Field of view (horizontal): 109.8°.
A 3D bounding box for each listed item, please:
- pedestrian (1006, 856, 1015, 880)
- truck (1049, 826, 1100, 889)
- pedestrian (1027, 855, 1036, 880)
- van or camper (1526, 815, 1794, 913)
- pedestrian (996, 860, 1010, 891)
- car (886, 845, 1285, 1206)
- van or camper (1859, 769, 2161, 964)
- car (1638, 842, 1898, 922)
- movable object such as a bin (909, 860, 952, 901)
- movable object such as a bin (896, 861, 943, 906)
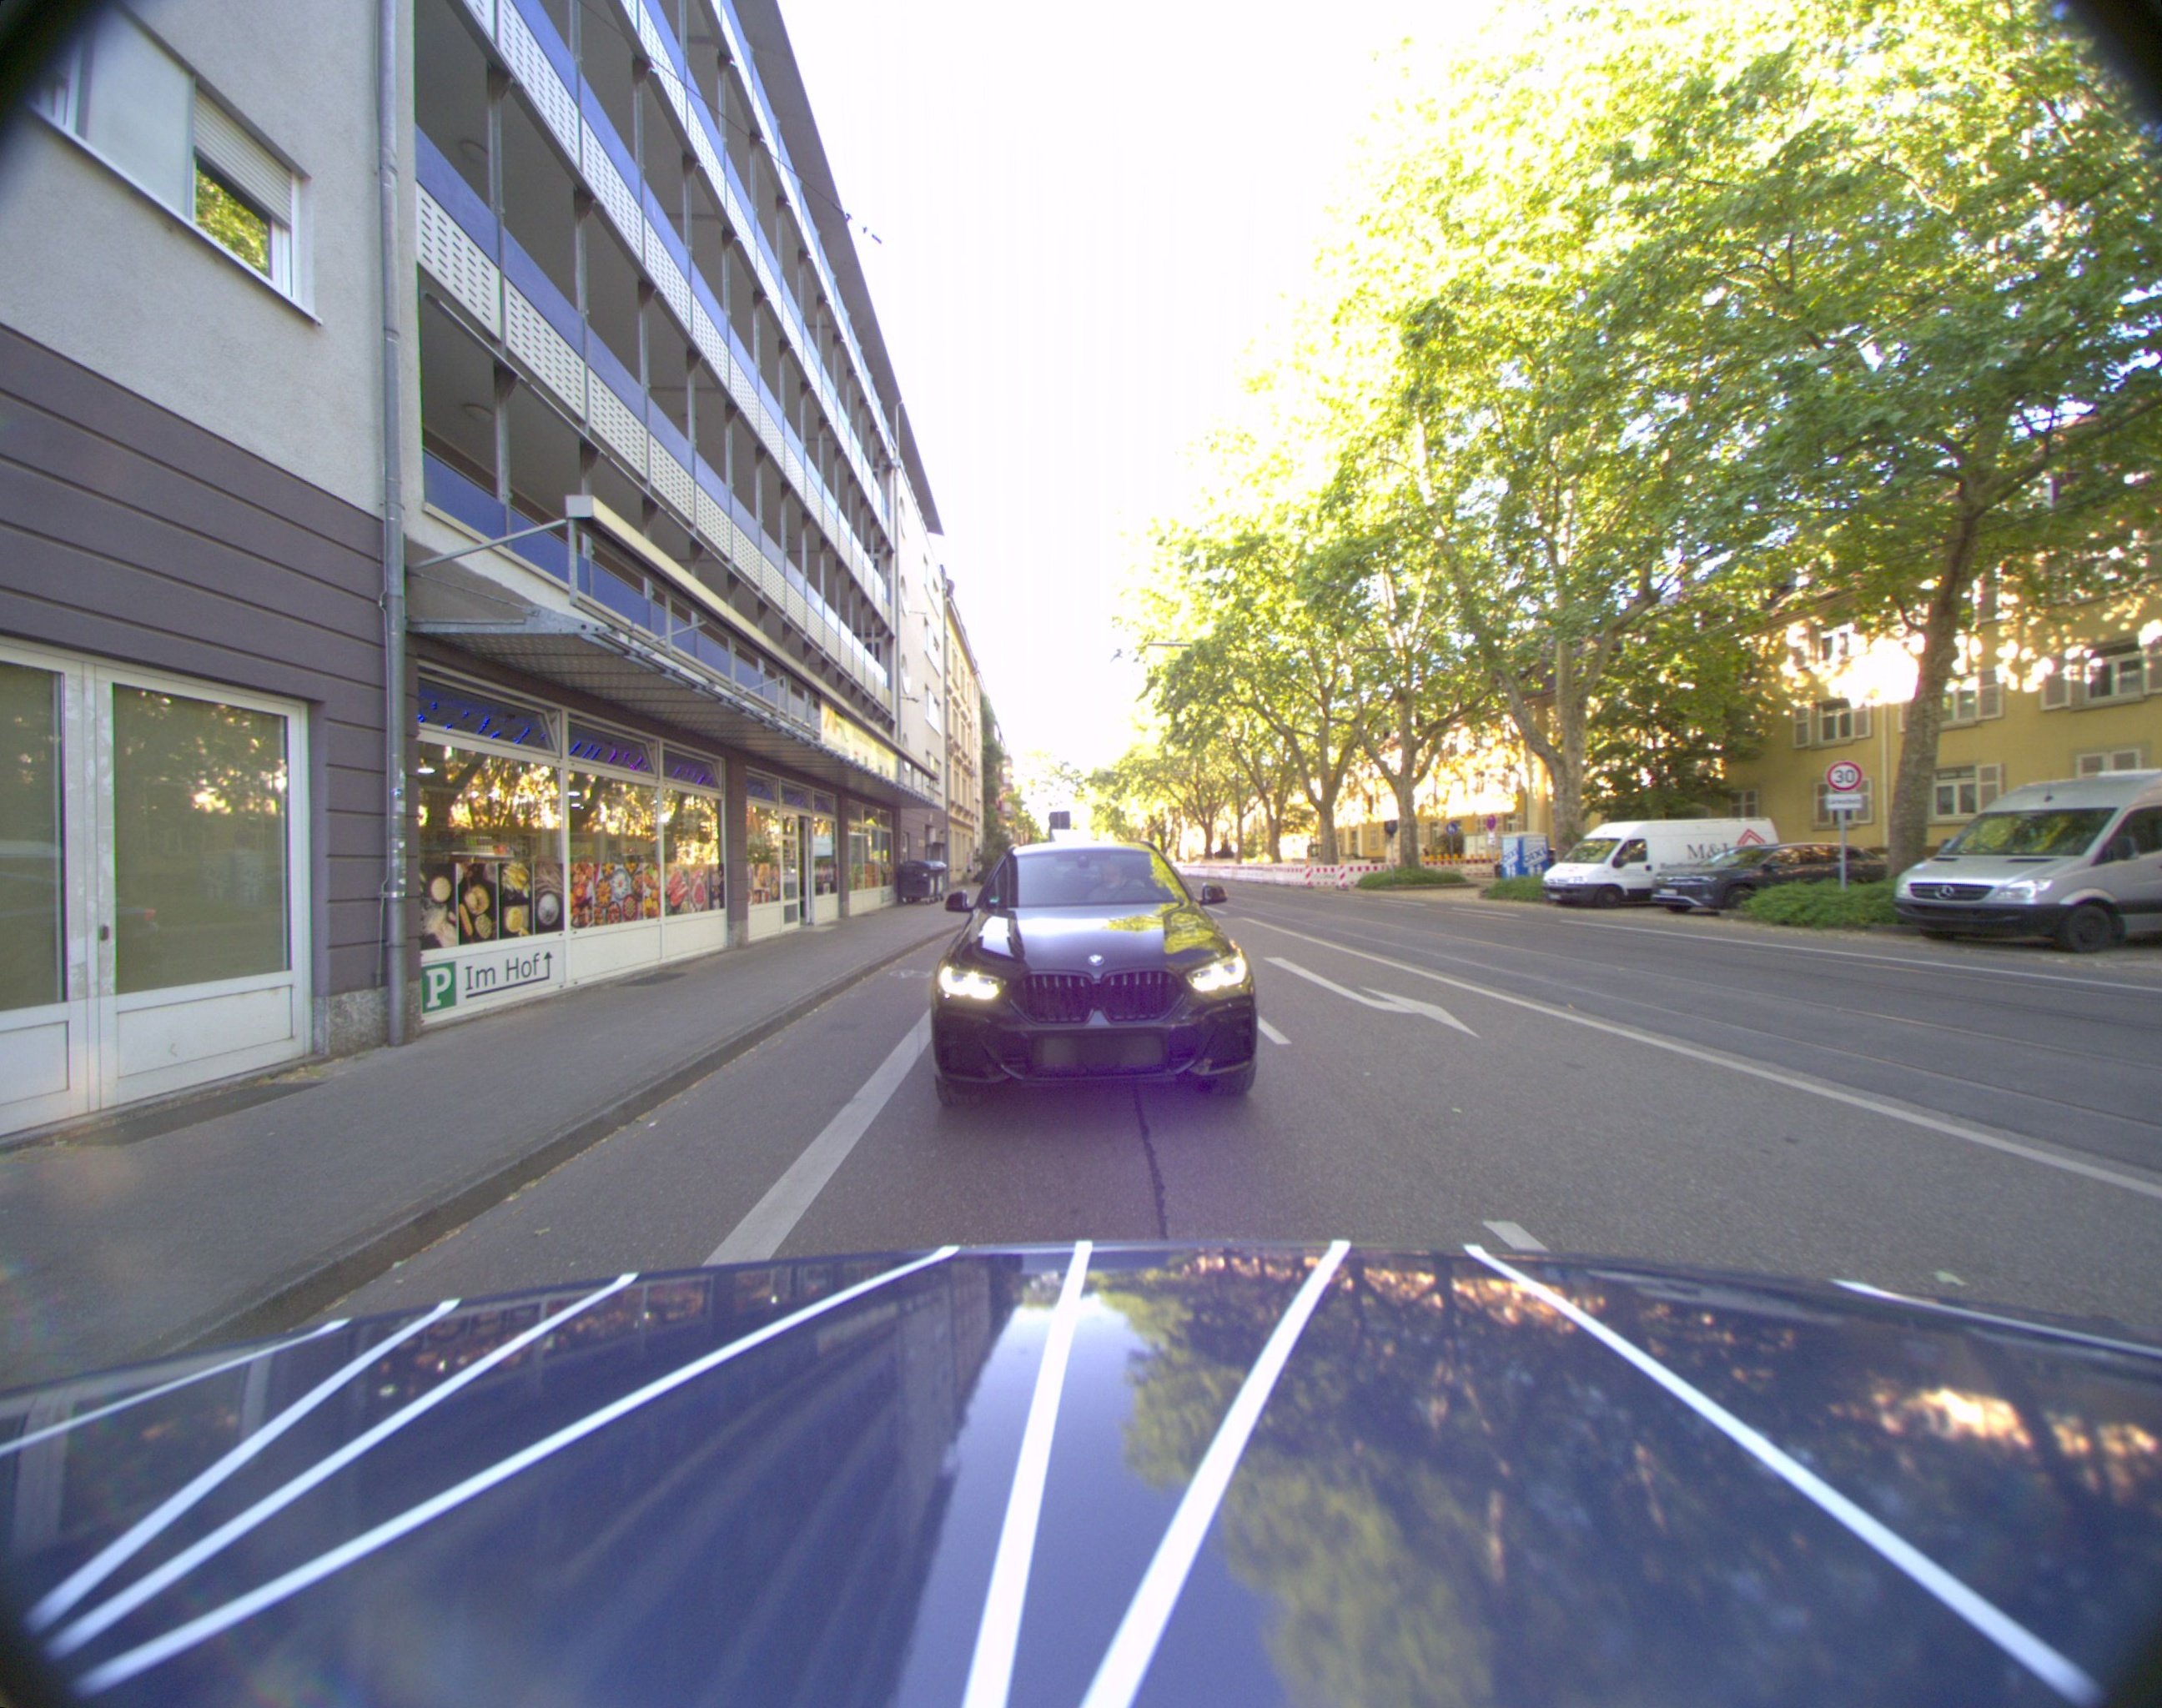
[{"bbox_3d":[-4.823,0.947,51.686,0.541,1.662,0.513,-1,0,1],"label":"pedestrian"},{"bbox_3d":[-0.428,0.166,41.045,2.344,3.095,5.210,-2,1,-4],"label":"truck"},{"bbox_3d":[-3.241,0.874,49.847,0.541,1.662,0.630,-1,0,1],"label":"pedestrian"},{"bbox_3d":[15.868,0.247,21.060,5.763,2.371,2.156,-2,1,0],"label":"van or camper"},{"bbox_3d":[-3.659,1.005,35.631,0.541,1.437,0.630,-1,0,1],"label":"pedestrian"},{"bbox_3d":[0.065,0.838,6.139,1.930,1.742,4.683,-2,1,1],"label":"car"},{"bbox_3d":[16.002,0.090,11.654,5.931,2.633,2.156,-2,1,0],"label":"van or camper"},{"bbox_3d":[15.990,0.610,17.849,4.540,1.624,1.693,-2,1,1],"label":"car"},{"bbox_3d":[-5.287,0.926,26.820,1.203,1.402,1.372,-1,0,1],"label":"movable object such as a bin"},{"bbox_3d":[-5.261,0.947,24.820,1.203,1.402,1.372,-1,0,1],"label":"movable object such as a bin"}]
